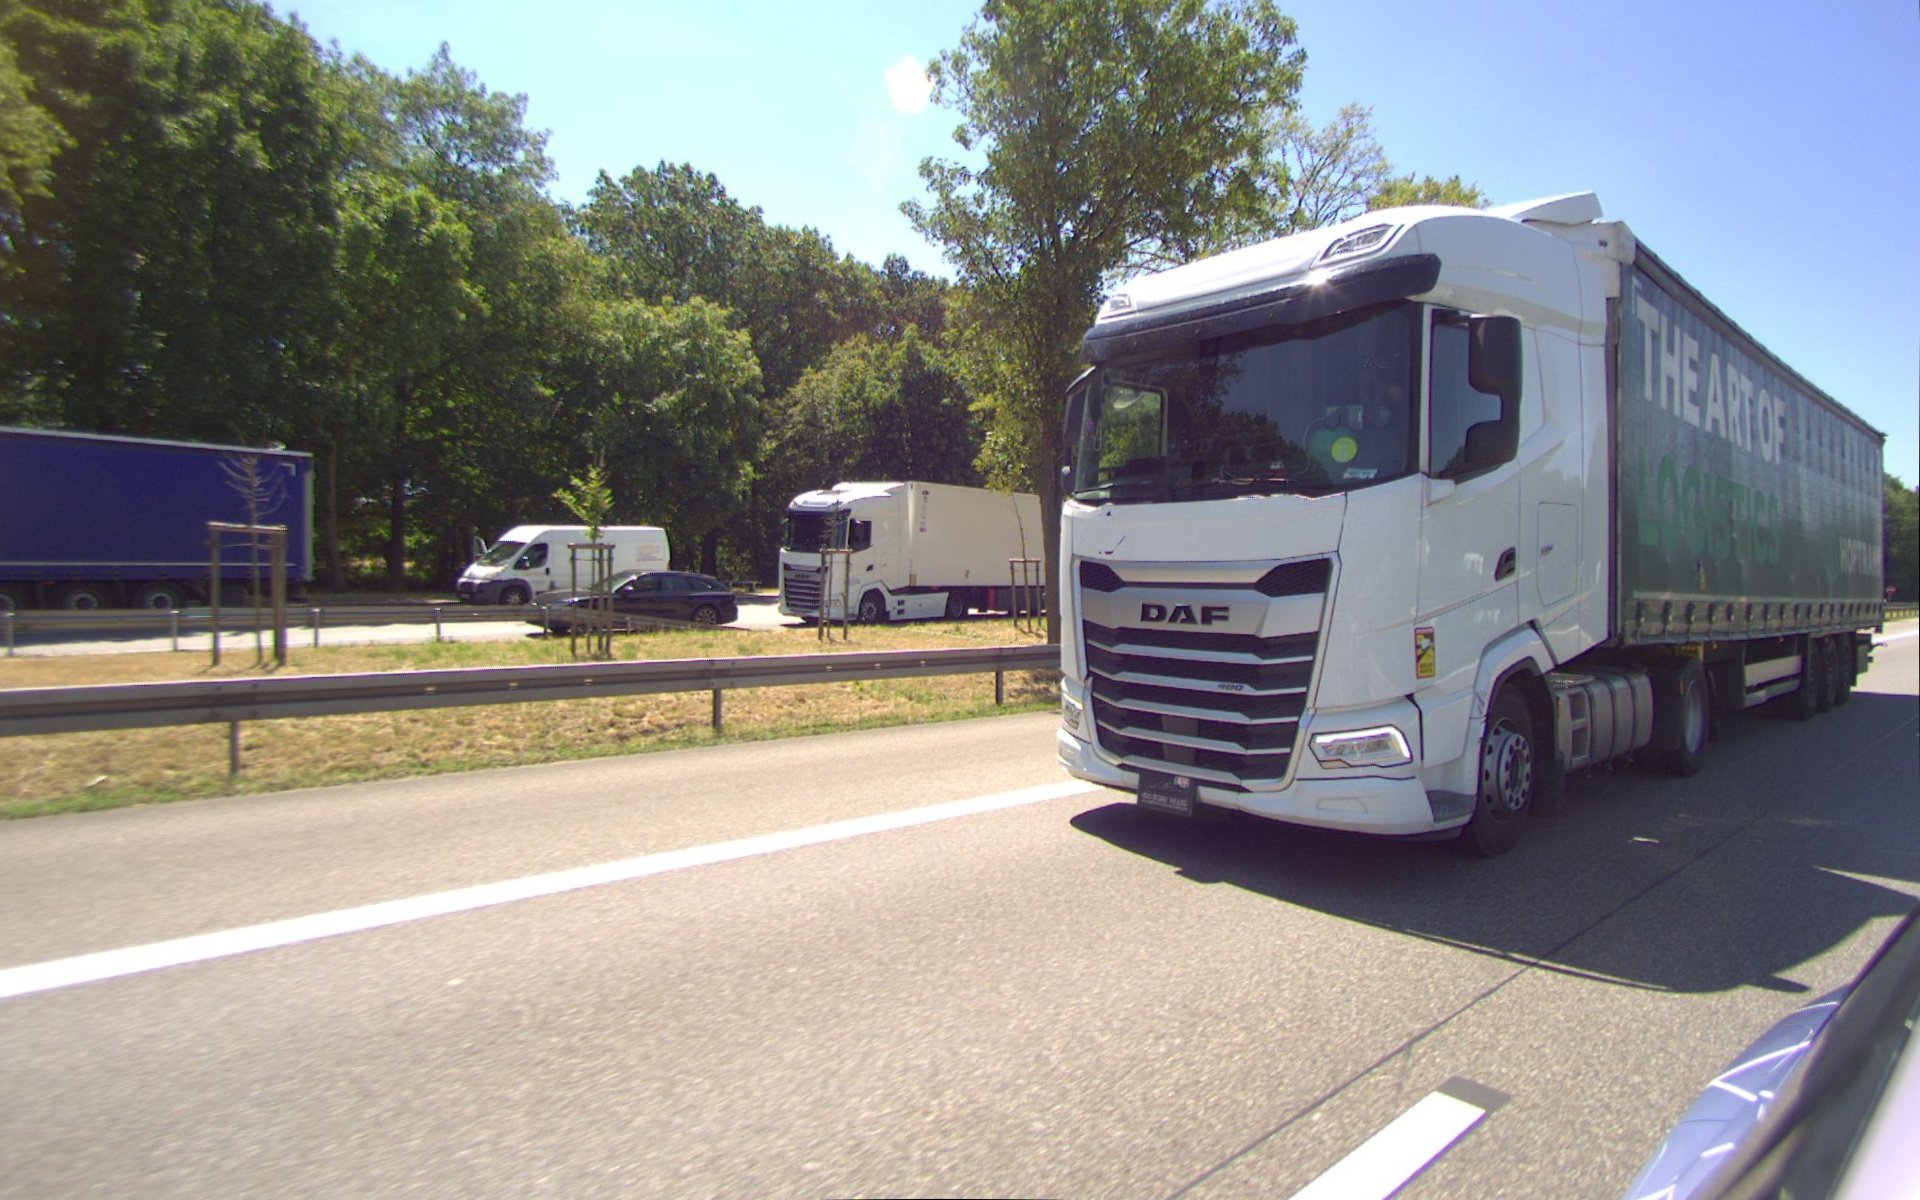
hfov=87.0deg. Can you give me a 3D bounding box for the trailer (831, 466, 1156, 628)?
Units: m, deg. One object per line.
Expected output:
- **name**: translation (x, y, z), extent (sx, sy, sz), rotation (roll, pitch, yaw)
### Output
- **trailer**: translation (1.876, -1.551, 34.827), extent (3.377, 4.519, 14.158), rotation (0, 0, 39)

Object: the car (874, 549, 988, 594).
- **car**: translation (-1.186, -1.214, 43.261), extent (2.140, 1.774, 4.796), rotation (4, 4, 41)

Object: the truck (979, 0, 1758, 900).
- **truck**: translation (3.580, -0.889, 7.761), extent (6.746, 4.326, 2.860), rotation (-1, 0, -42)

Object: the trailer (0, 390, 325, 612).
- **trailer**: translation (-20.386, -1.909, 20.012), extent (3.374, 4.312, 12.973), rotation (0, 0, 36)

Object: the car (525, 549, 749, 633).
- **car**: translation (-7.515, -0.246, 23.835), extent (4.603, 1.731, 1.996), rotation (-1, 4, -45)

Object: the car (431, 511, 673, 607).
- **car**: translation (-12.225, -1.235, 30.854), extent (2.304, 2.614, 6.557), rotation (4, 3, 38)

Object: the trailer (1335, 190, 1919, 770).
- **trailer**: translation (10.030, -0.975, 13.536), extent (14.723, 4.326, 2.860), rotation (-1, 0, -42)

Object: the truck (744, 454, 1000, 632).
- **truck**: translation (-2.363, -1.481, 29.560), extent (3.377, 4.519, 7.285), rotation (0, 0, 39)
